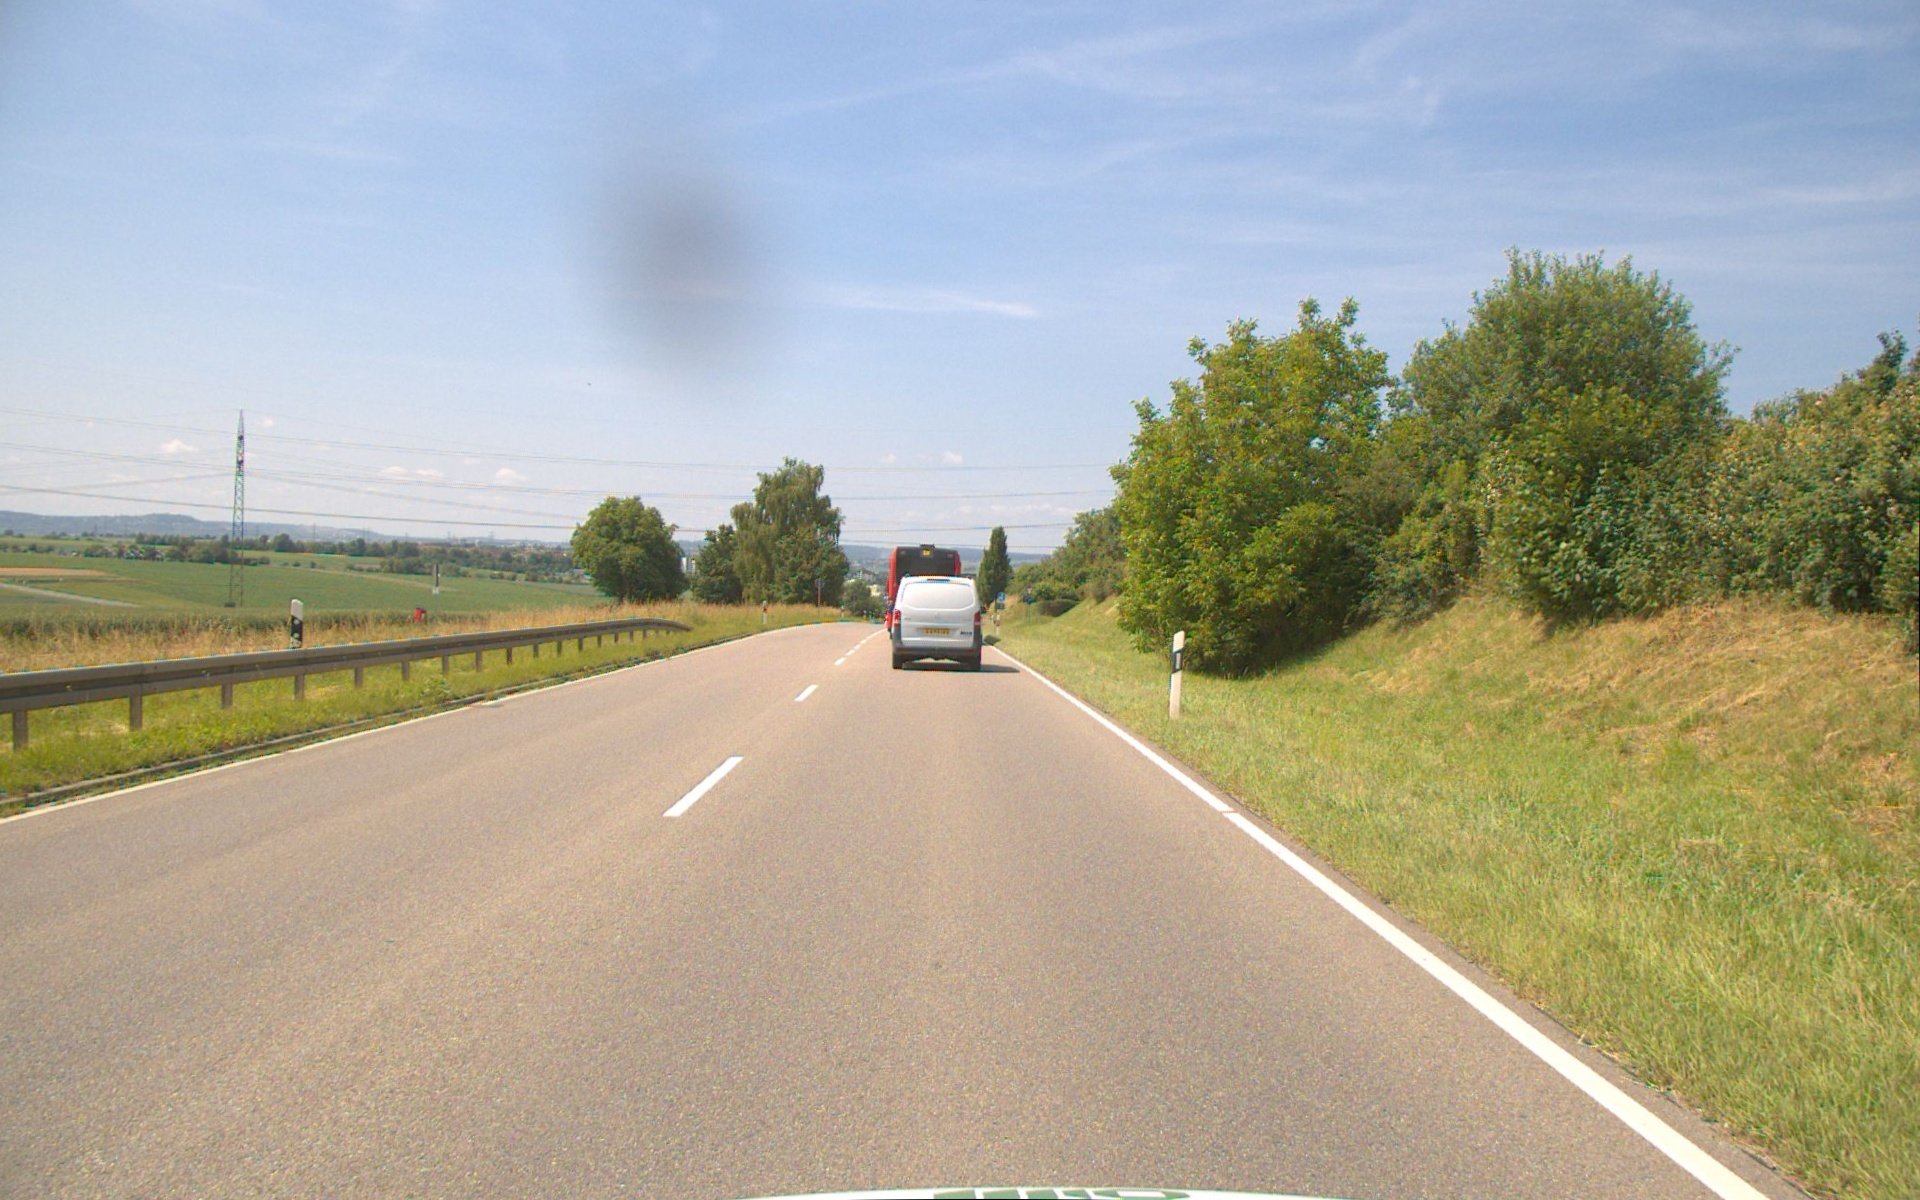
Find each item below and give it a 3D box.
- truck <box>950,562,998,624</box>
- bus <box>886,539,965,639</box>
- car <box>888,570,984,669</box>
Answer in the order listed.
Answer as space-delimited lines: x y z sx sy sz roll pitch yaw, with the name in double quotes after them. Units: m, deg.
0.972 -0.511 129.430 3.417 4.501 14.899 1 0 -1 "truck"
-1.407 -0.525 63.228 2.692 3.412 13.217 0 1 -2 "bus"
-0.504 0.351 35.121 1.884 1.922 4.000 1 1 -1 "car"
